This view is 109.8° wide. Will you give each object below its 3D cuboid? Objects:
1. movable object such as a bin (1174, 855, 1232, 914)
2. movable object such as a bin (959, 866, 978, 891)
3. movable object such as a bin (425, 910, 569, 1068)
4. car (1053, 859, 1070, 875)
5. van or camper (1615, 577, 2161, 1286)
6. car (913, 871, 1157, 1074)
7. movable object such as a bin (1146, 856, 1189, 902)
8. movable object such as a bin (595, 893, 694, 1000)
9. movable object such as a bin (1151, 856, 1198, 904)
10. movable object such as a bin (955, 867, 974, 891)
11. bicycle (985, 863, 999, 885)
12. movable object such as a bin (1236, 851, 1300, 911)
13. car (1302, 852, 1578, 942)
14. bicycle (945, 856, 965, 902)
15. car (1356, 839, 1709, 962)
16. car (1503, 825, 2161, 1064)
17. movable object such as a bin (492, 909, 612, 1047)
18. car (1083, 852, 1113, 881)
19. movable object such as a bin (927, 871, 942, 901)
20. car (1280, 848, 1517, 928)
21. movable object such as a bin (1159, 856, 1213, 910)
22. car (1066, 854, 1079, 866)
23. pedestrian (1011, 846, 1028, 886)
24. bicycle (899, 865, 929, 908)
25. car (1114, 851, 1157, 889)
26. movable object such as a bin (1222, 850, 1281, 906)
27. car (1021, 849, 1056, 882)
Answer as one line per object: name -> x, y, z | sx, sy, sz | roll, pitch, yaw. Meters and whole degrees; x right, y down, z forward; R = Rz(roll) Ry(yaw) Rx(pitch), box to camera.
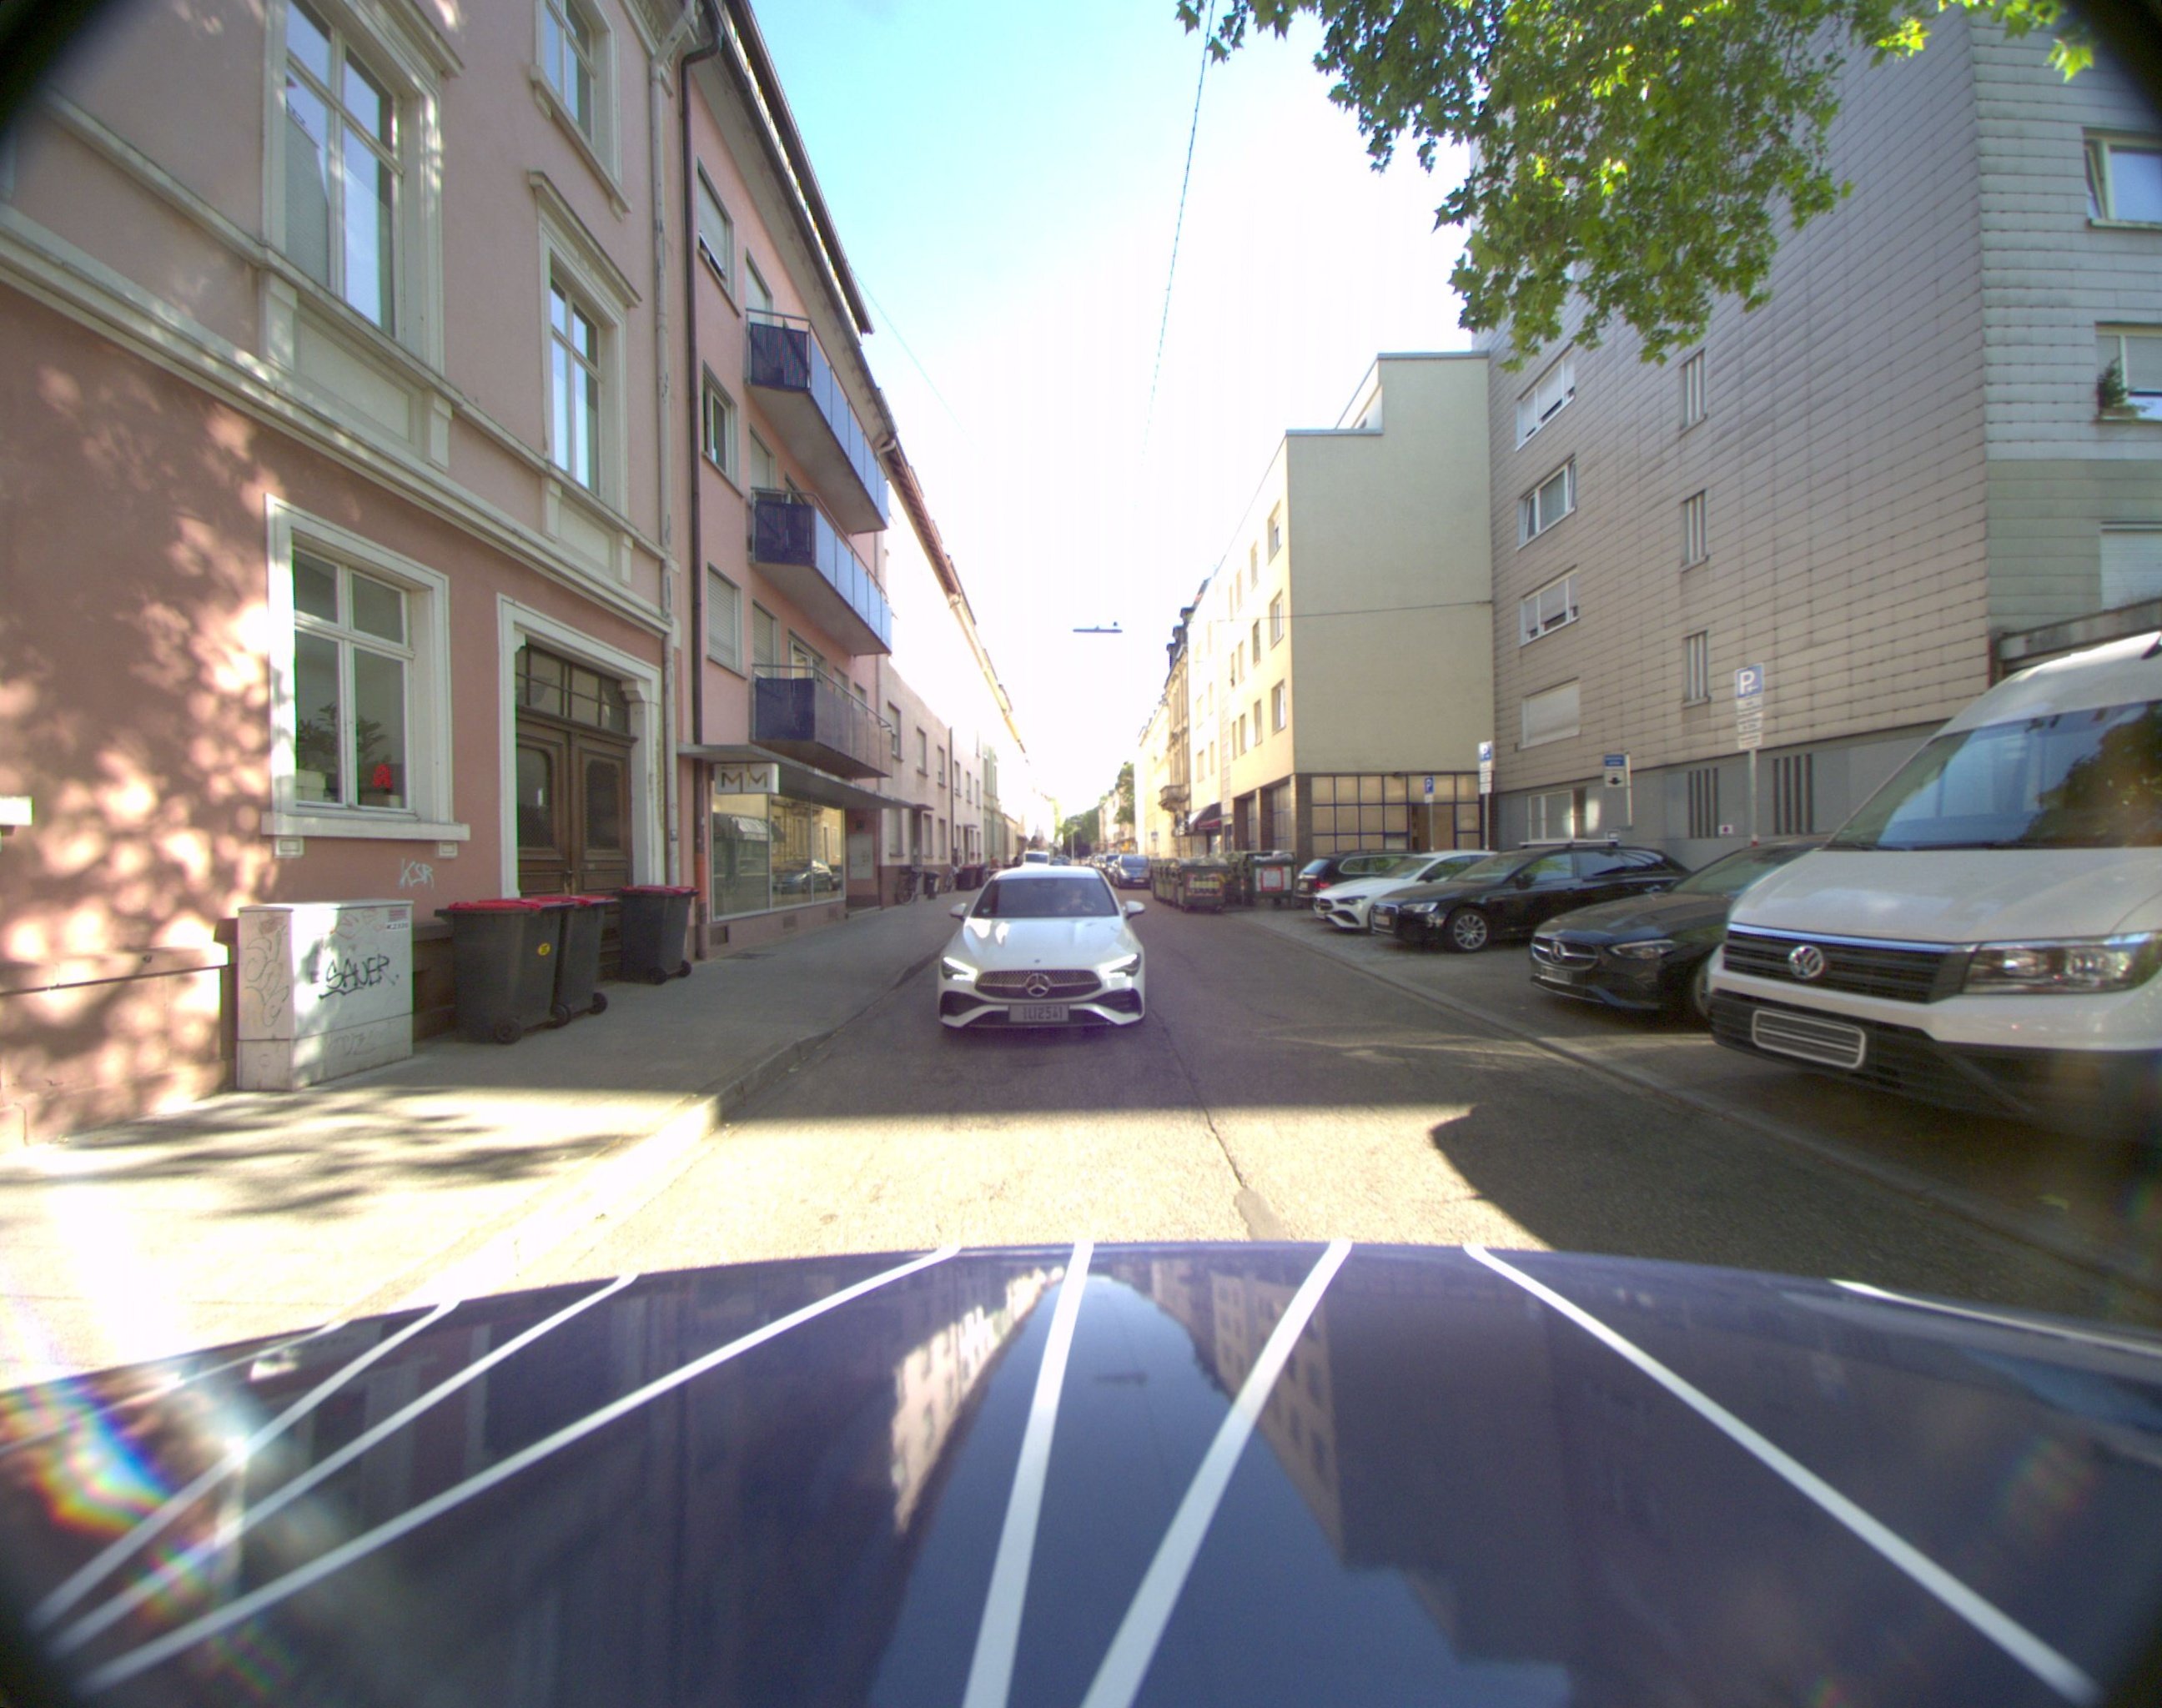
movable object such as a bin -> 3.223, 0.784, 20.349 | 1.241, 1.491, 1.877 | 0, 0, 0
movable object such as a bin -> -4.782, 1.039, 32.376 | 0.717, 0.996, 0.546 | 2, 0, -2
movable object such as a bin -> -4.424, 0.996, 5.798 | 0.570, 1.078, 0.654 | 2, 0, -2
car -> -2.180, 1.412, 84.066 | 1.765, 1.698, 4.327 | -1, 0, 0
van or camper -> 6.896, 0.063, 3.751 | 6.922, 2.559, 2.000 | -4, 0, 1
car -> -0.327, 0.967, 8.169 | 1.862, 1.448, 4.563 | -1, 0, 1
movable object such as a bin -> 2.954, 0.823, 26.031 | 1.222, 1.492, 1.560 | -1, 0, -2
movable object such as a bin -> -4.790, 0.999, 8.374 | 0.718, 1.078, 0.618 | 2, 0, -2
movable object such as a bin -> 2.983, 0.810, 24.409 | 1.222, 1.492, 1.560 | -1, 0, -2
movable object such as a bin -> -4.863, 1.036, 31.719 | 0.717, 0.996, 0.546 | 2, 0, -2
bicycle -> -4.642, 1.017, 39.743 | 0.490, 1.089, 1.933 | -1, 0, 1
movable object such as a bin -> 4.838, 0.678, 19.771 | 1.328, 1.492, 1.195 | -1, 0, -2
car -> 6.546, 0.746, 14.066 | 4.417, 1.454, 1.599 | -1, 0, -6
bicycle -> -4.924, 0.951, 29.814 | 0.402, 1.725, 2.107 | -1, 0, 1
car -> 6.662, 0.631, 11.454 | 4.417, 1.607, 1.698 | -1, 0, -6
car -> 6.302, 0.659, 6.476 | 4.415, 1.524, 1.699 | -3, 0, -1
movable object such as a bin -> -4.452, 1.023, 6.431 | 0.570, 1.052, 0.612 | 2, 0, -2
car -> 1.026, 0.769, 47.598 | 1.765, 1.698, 4.328 | -1, 0, 1
movable object such as a bin -> -4.786, 1.045, 24.822 | 0.416, 0.935, 0.302 | 2, 0, -2
car -> 6.752, 0.693, 16.388 | 4.417, 1.524, 1.698 | -1, 0, -6
movable object such as a bin -> 3.046, 0.818, 22.308 | 1.247, 1.491, 1.925 | -1, 0, -2
car -> -1.252, 0.846, 109.752 | 1.765, 1.698, 4.327 | -1, 0, 0
pedestrian -> -3.162, 0.604, 39.059 | 0.761, 2.002, 0.771 | -1, 0, 1
bicycle -> -4.866, 0.923, 22.258 | 0.402, 1.143, 2.025 | -1, 0, 1
car -> 2.540, 0.729, 36.334 | 1.765, 1.698, 4.328 | -1, 0, 1
movable object such as a bin -> 4.728, 0.651, 21.179 | 1.222, 1.492, 1.517 | -1, 0, -2
car -> -2.512, 0.671, 45.934 | 1.765, 1.843, 4.328 | -1, 0, 1
